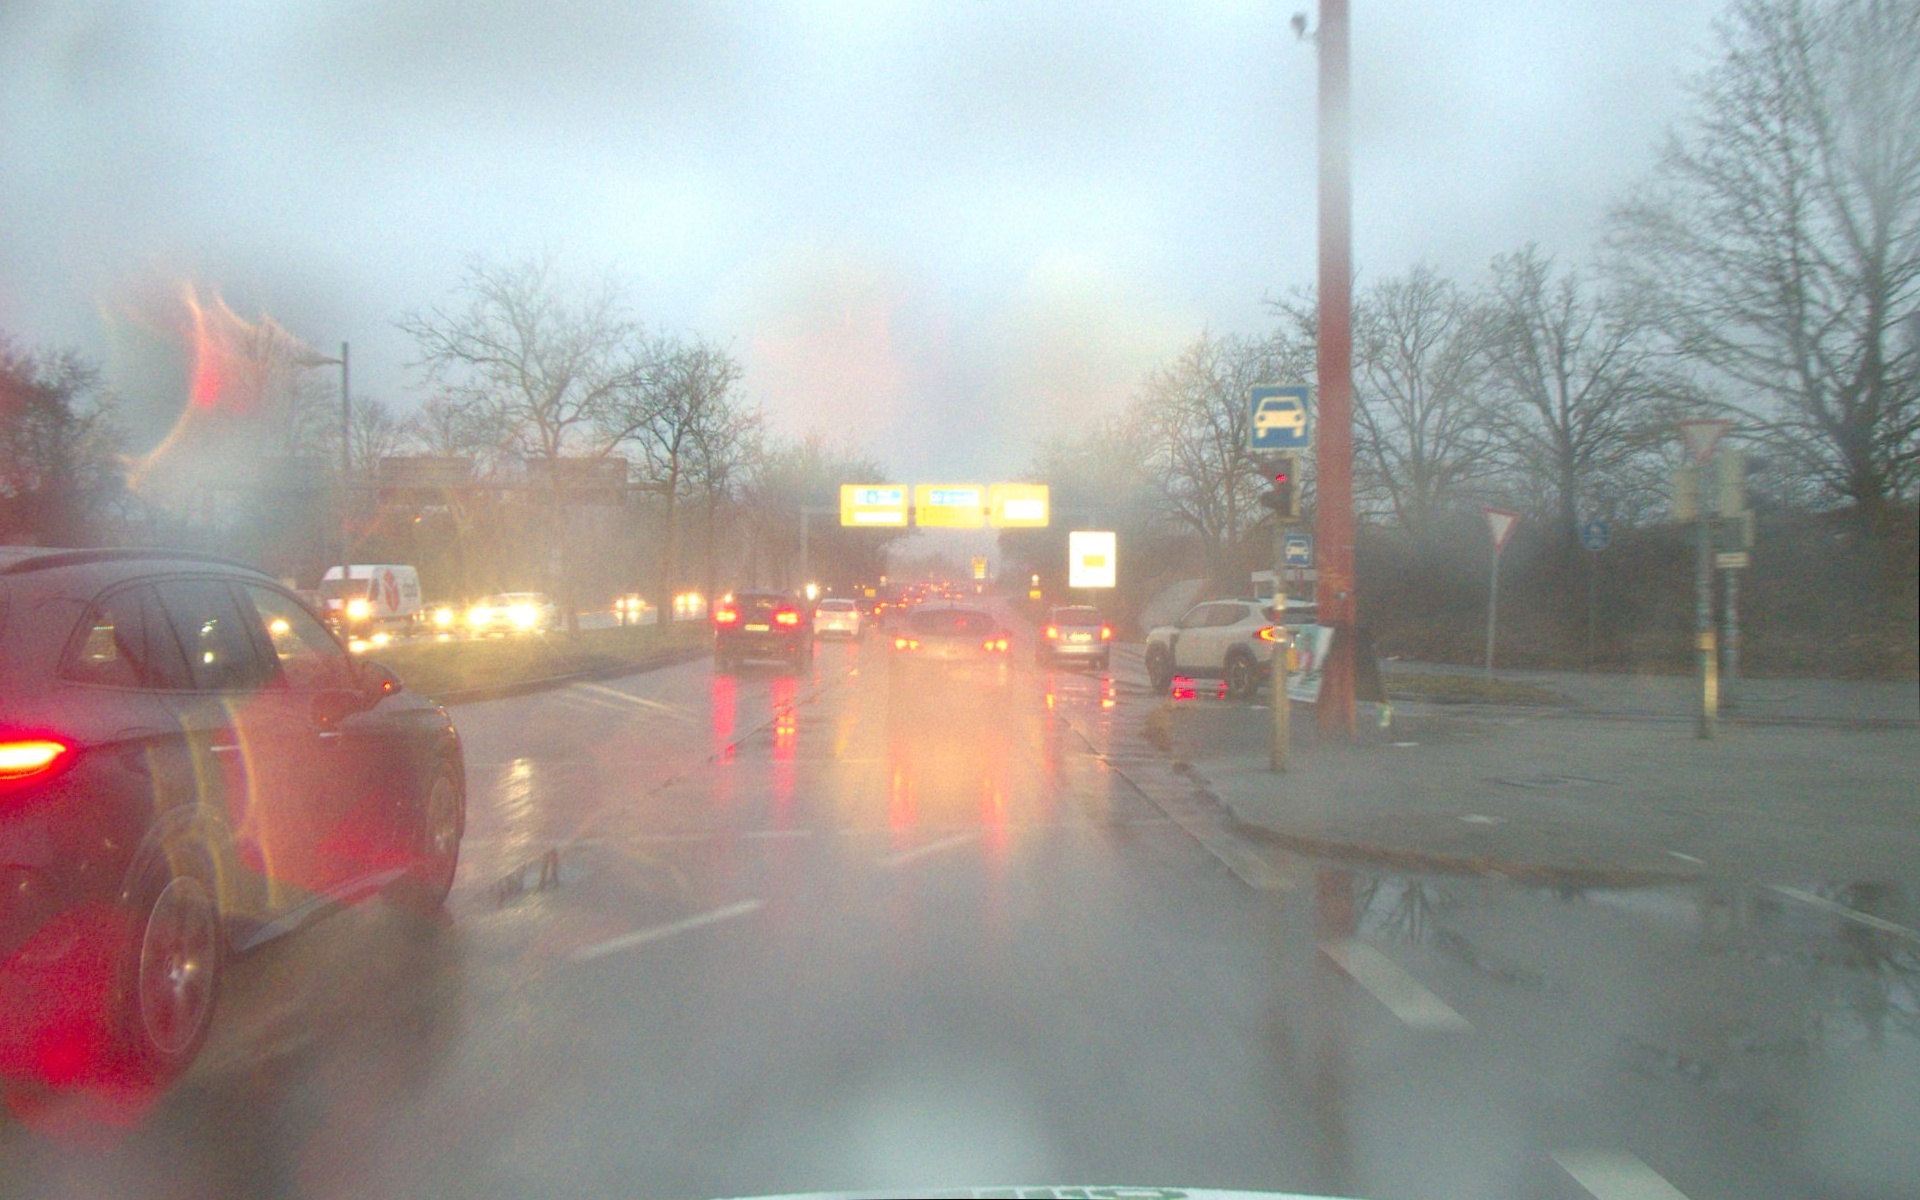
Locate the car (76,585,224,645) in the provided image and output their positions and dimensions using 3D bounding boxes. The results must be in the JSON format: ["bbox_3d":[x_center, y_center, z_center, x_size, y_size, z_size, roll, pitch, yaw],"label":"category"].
[{"bbox_3d":[-21.489,0.374,44.089,1.734,1.516,4.649,0,0,-1],"label":"car"}]

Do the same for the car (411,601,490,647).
[{"bbox_3d":[-20.839,0.944,67.783,1.759,1.689,4.002,2,1,4],"label":"car"}]

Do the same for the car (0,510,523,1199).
[{"bbox_3d":[-3.135,0.632,6.190,1.785,1.677,4.466,0,0,0],"label":"car"}]

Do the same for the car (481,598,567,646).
[{"bbox_3d":[-14.860,0.716,56.600,1.734,1.563,4.839,0,0,-1],"label":"car"}]

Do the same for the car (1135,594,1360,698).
[{"bbox_3d":[4.866,0.738,28.642,1.791,1.646,4.380,0,0,-23],"label":"car"}]

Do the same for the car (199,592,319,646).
[{"bbox_3d":[-21.440,0.550,50.757,1.733,1.563,4.446,0,0,1],"label":"car"}]

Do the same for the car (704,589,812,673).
[{"bbox_3d":[-4.249,0.637,35.363,1.785,1.677,4.000,0,0,0],"label":"car"}]

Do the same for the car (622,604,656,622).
[{"bbox_3d":[-27.093,1.074,139.563,1.952,1.503,4.072,1,0,1],"label":"car"}]

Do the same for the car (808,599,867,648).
[{"bbox_3d":[-4.339,0.808,59.000,1.785,1.677,4.000,0,0,0],"label":"car"}]

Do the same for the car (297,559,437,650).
[{"bbox_3d":[-21.424,0.198,60.182,2.244,3.057,7.347,1,-1,1],"label":"car"}]

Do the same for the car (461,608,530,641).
[{"bbox_3d":[-21.186,1.098,75.606,1.865,1.472,4.442,1,0,0],"label":"car"}]

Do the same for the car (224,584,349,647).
[{"bbox_3d":[-17.978,0.399,44.342,1.734,1.614,4.032,0,0,-1],"label":"car"}]

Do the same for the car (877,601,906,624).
[{"bbox_3d":[-4.687,0.858,112.993,1.785,1.530,4.000,0,0,0],"label":"car"}]

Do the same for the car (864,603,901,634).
[{"bbox_3d":[-3.559,0.840,76.394,1.474,1.362,4.000,0,0,0],"label":"car"}]

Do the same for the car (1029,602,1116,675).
[{"bbox_3d":[2.777,0.946,41.661,1.893,1.677,4.466,2,-1,0],"label":"car"}]

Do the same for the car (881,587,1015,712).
[{"bbox_3d":[-0.152,0.662,24.310,1.785,1.677,4.466,0,0,0],"label":"car"}]
